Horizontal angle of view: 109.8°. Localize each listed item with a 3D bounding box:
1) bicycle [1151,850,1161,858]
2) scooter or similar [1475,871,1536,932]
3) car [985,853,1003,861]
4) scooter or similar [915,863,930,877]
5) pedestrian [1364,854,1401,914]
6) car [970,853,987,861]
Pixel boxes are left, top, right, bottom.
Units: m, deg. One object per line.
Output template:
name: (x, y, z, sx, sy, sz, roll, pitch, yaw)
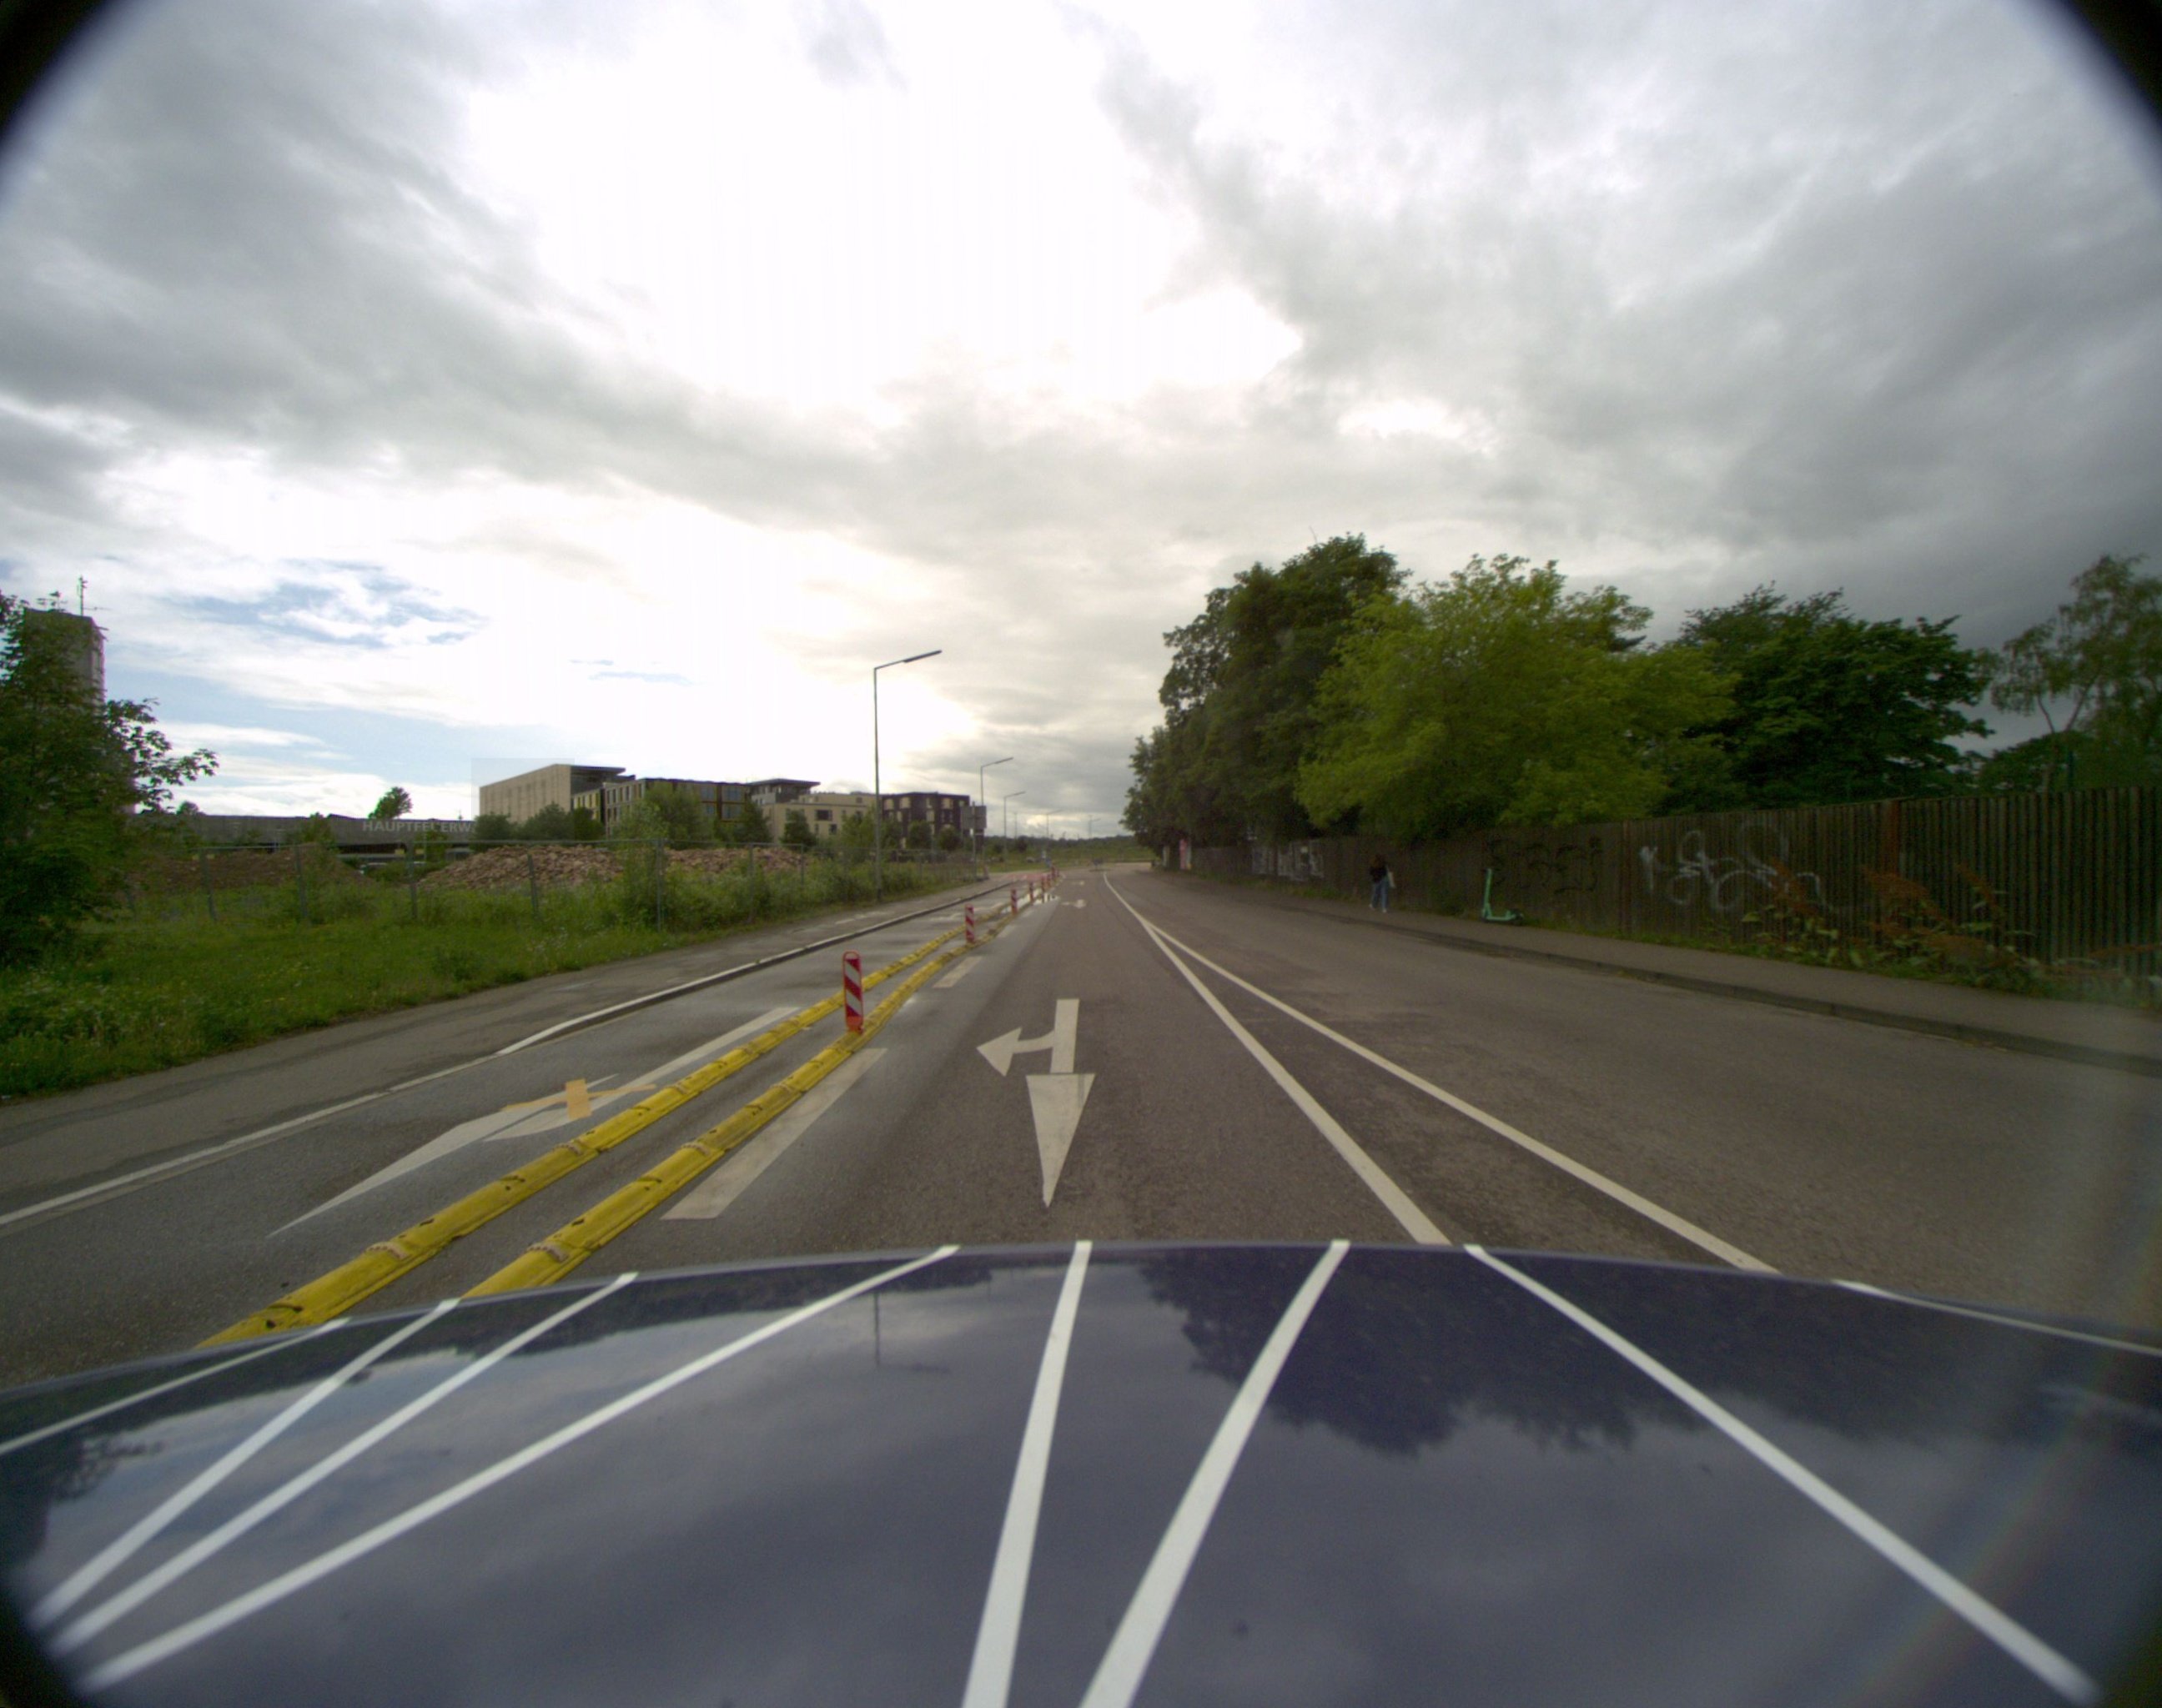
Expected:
bicycle: (9.187, 0.000, 92.954, 0.582, 0.992, 1.773, -3, 0, 28)
scooter or similar: (8.608, 0.940, 15.459, 0.424, 1.164, 1.303, -1, 0, -5)
car: (-21.593, 0.642, 189.040, 1.994, 2.002, 4.008, 0, 0, 42)
scooter or similar: (-13.196, 1.317, 63.175, 1.323, 1.178, 0.447, 0, 1, 41)
pedestrian: (7.769, 0.762, 19.581, 0.614, 1.520, 0.724, -1, 1, -4)
car: (-26.166, 0.723, 194.682, 1.994, 2.002, 4.008, 0, 0, 42)
